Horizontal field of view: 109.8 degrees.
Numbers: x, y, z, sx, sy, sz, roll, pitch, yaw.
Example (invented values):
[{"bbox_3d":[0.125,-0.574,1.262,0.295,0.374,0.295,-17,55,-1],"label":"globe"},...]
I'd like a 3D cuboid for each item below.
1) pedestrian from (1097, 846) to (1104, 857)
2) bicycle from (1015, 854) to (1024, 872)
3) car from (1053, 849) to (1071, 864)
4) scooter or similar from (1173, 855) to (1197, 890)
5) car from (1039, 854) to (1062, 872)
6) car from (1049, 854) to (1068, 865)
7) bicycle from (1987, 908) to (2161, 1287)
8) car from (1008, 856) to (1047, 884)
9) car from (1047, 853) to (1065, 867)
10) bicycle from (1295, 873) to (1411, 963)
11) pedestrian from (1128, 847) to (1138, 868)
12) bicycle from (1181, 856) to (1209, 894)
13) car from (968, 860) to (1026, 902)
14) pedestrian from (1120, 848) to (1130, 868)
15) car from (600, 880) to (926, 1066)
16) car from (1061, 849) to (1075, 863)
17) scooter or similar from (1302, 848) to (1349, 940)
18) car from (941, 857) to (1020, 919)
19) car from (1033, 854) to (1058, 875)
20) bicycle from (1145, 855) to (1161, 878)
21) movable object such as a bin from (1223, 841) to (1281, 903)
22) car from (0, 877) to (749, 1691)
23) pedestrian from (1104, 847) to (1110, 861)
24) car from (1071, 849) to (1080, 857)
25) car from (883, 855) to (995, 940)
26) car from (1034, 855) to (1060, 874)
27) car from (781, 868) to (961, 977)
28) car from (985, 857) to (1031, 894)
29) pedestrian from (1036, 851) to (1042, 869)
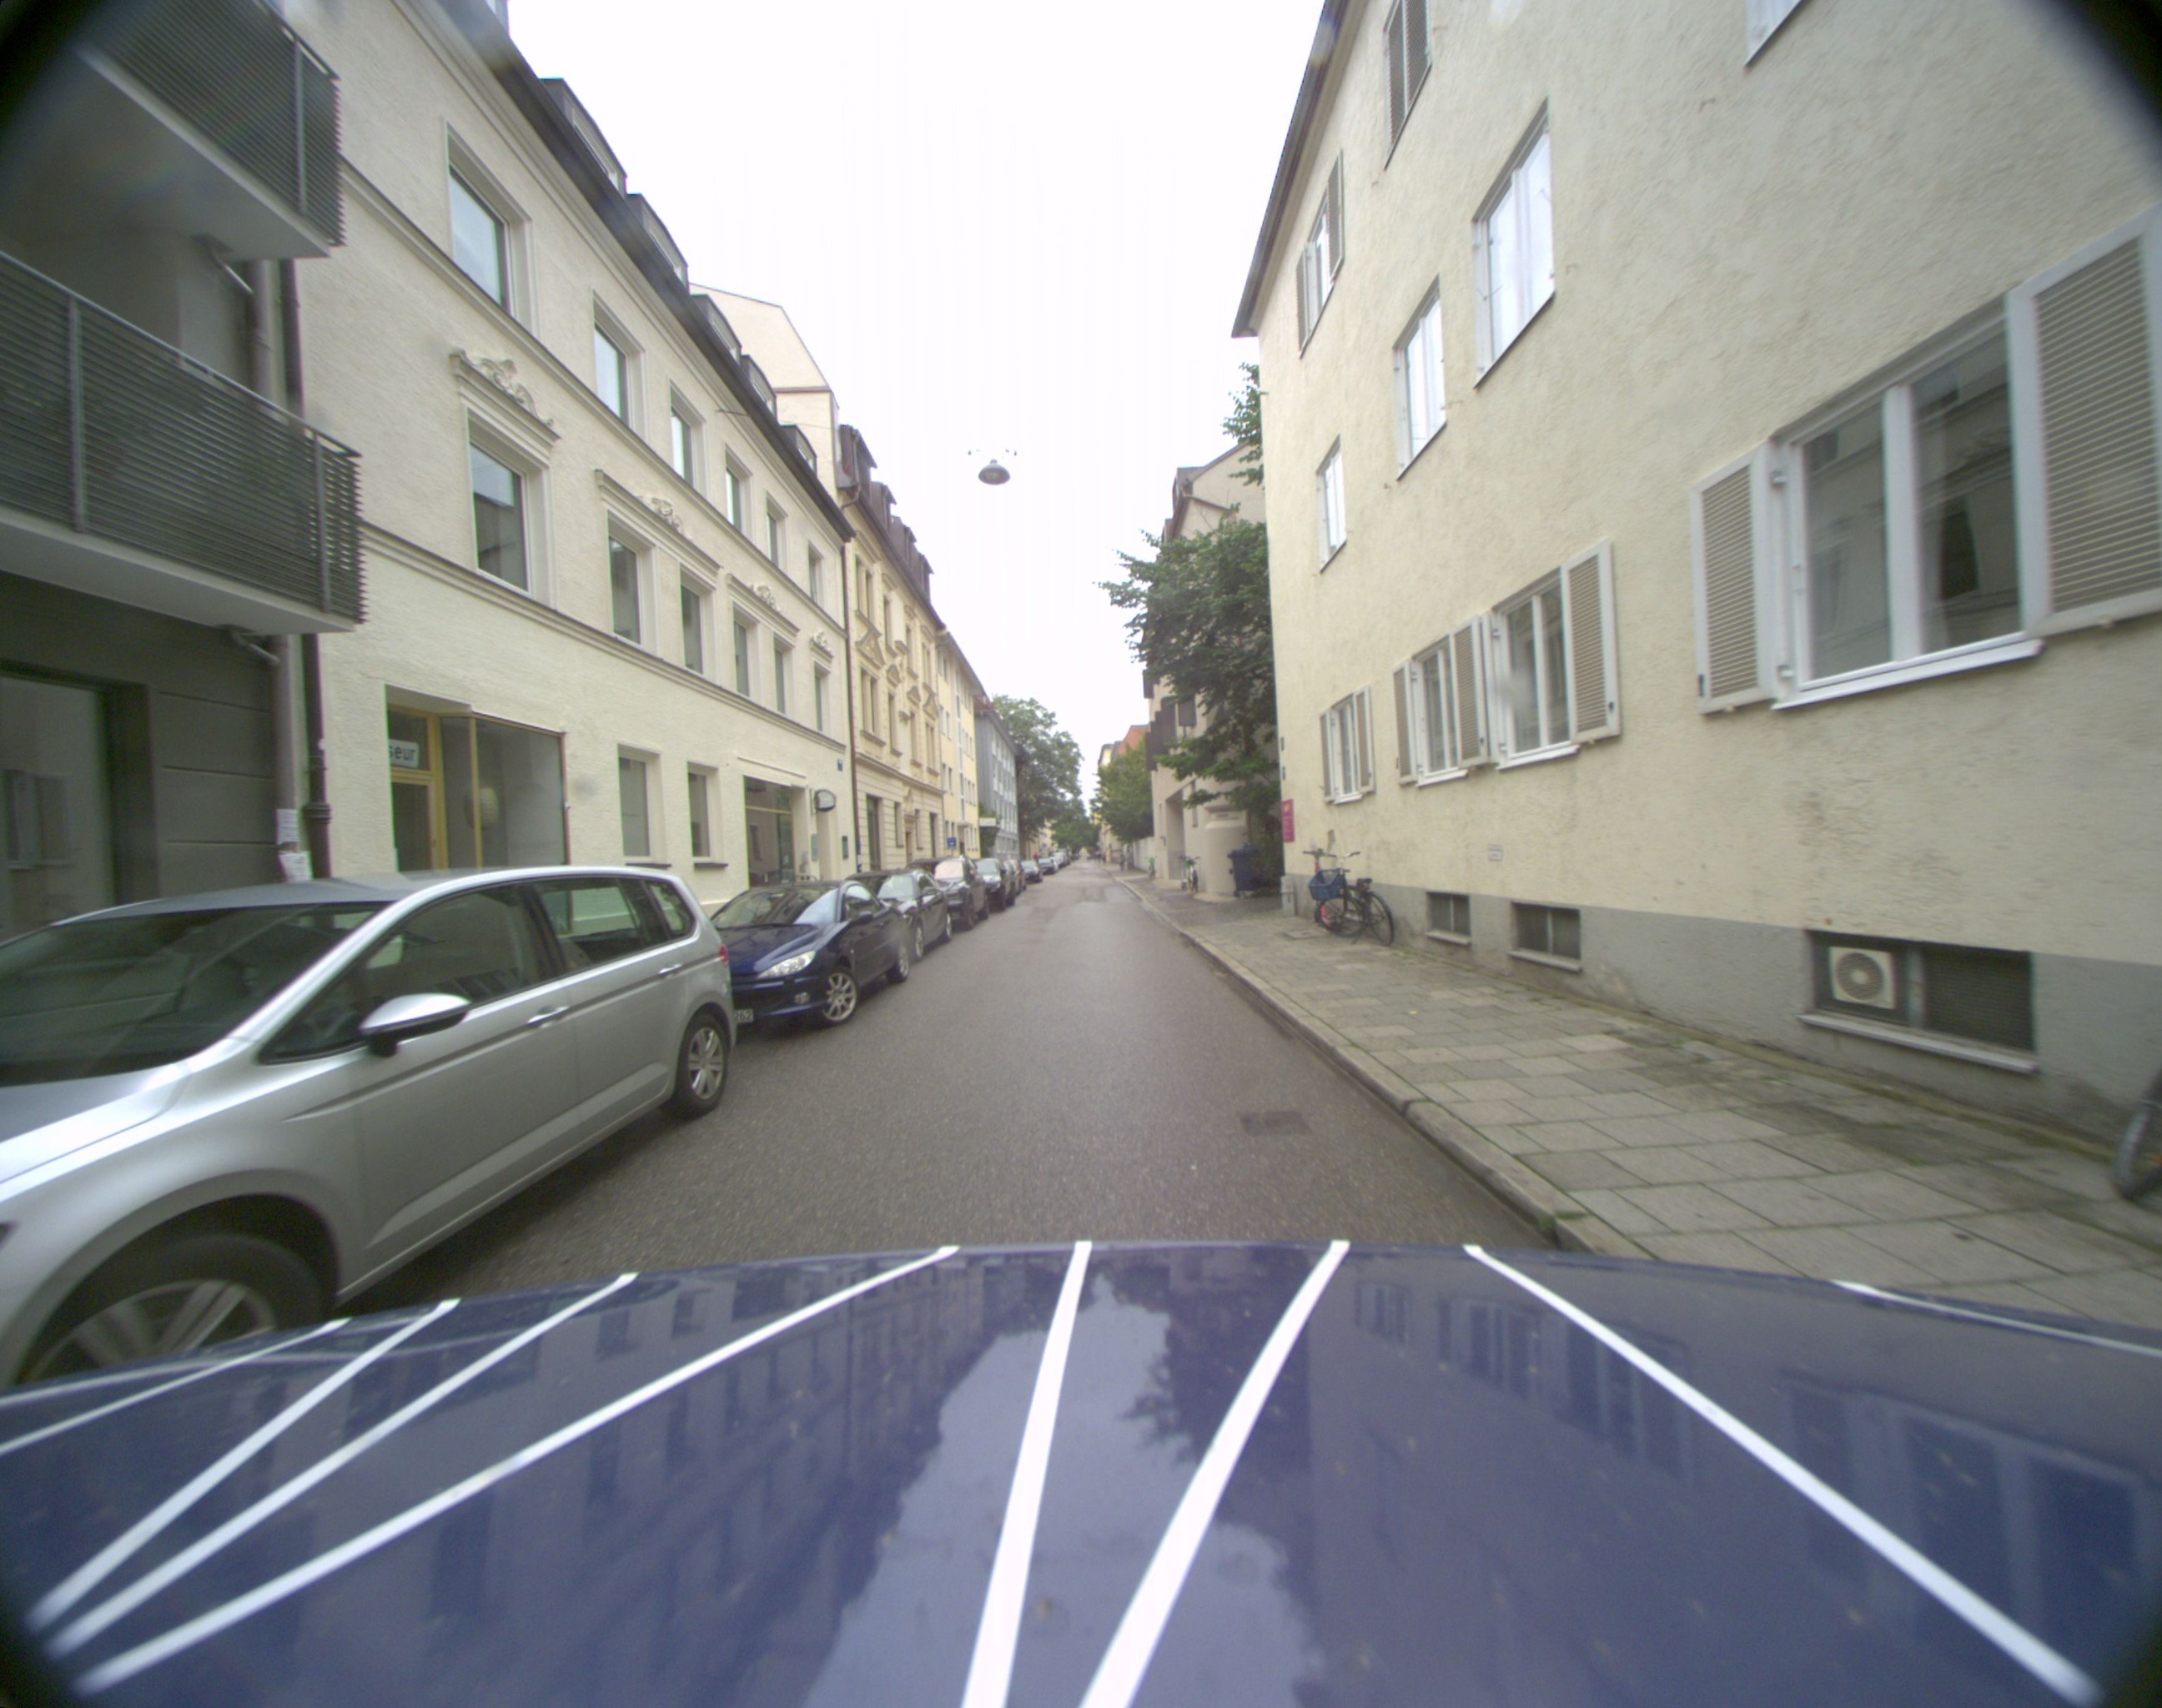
[{"bbox_3d":[3.043,-0.360,119.032,0.920,1.742,1.066,-2,1,0],"label":"pedestrian"},{"bbox_3d":[-5.365,0.765,66.478,0.515,1.478,2.279,-3,0,1],"label":"bicycle"},{"bbox_3d":[-2.585,0.335,102.978,1.998,2.002,5.064,-2,0,3],"label":"car"},{"bbox_3d":[3.749,0.664,27.328,0.553,1.137,1.359,-5,1,17],"label":"scooter or similar"},{"bbox_3d":[-2.831,0.798,71.789,1.773,1.437,4.344,-6,0,1],"label":"car"},{"bbox_3d":[-2.637,0.647,91.645,1.998,1.306,4.593,-2,0,1],"label":"car"},{"bbox_3d":[3.654,0.806,2.054,0.459,1.153,1.605,-5,1,2],"label":"bicycle"},{"bbox_3d":[-3.075,0.887,44.511,1.830,1.327,4.508,-6,0,0],"label":"car"},{"bbox_3d":[-2.843,0.698,86.492,1.860,1.366,4.509,-5,1,-1],"label":"car"},{"bbox_3d":[3.582,0.804,10.198,0.705,0.978,1.822,-7,1,-4],"label":"bicycle"},{"bbox_3d":[4.160,0.311,60.749,0.615,1.612,0.687,-5,1,1],"label":"pedestrian"},{"bbox_3d":[3.778,0.674,25.262,0.545,1.154,1.882,-4,1,-1],"label":"bicycle"},{"bbox_3d":[-3.190,1.004,29.532,1.680,1.385,4.065,-3,0,0],"label":"car"},{"bbox_3d":[3.493,0.302,60.700,0.624,1.570,0.714,-4,1,0],"label":"pedestrian"},{"bbox_3d":[-3.071,1.066,8.352,1.812,1.355,3.945,-2,0,1],"label":"car"},{"bbox_3d":[-2.146,0.330,129.502,2.014,1.989,5.090,-6,0,1],"label":"car"},{"bbox_3d":[3.820,0.590,11.925,0.318,1.368,1.239,-2,1,0],"label":"scooter or similar"},{"bbox_3d":[-2.964,0.947,23.348,1.706,1.597,4.684,-3,0,0],"label":"car"},{"bbox_3d":[-2.872,0.828,61.899,1.846,1.420,4.263,-6,0,-1],"label":"car"},{"bbox_3d":[3.683,0.617,38.905,0.539,1.132,1.916,-4,0,0],"label":"bicycle"},{"bbox_3d":[4.434,0.457,19.861,1.177,1.433,1.249,-8,-1,6],"label":"movable object such as a bin"},{"bbox_3d":[-3.242,0.977,3.143,1.880,1.561,4.315,-1,0,-1],"label":"car"},{"bbox_3d":[3.398,0.020,100.134,0.766,1.742,0.970,-2,1,0],"label":"pedestrian"},{"bbox_3d":[-1.589,-0.255,213.599,2.014,1.969,5.090,-6,0,1],"label":"car"},{"bbox_3d":[-3.170,0.892,17.834,1.680,1.651,4.512,-3,0,0],"label":"car"},{"bbox_3d":[-2.952,0.861,66.728,1.794,1.393,4.485,-6,0,1],"label":"car"},{"bbox_3d":[-3.300,1.003,12.890,1.804,1.377,4.348,-2,0,0],"label":"car"},{"bbox_3d":[-3.318,0.950,35.244,1.680,1.484,3.853,-3,0,0],"label":"car"},{"bbox_3d":[-4.757,0.701,86.615,0.581,1.966,0.455,-3,1,0],"label":"pedestrian"}]
